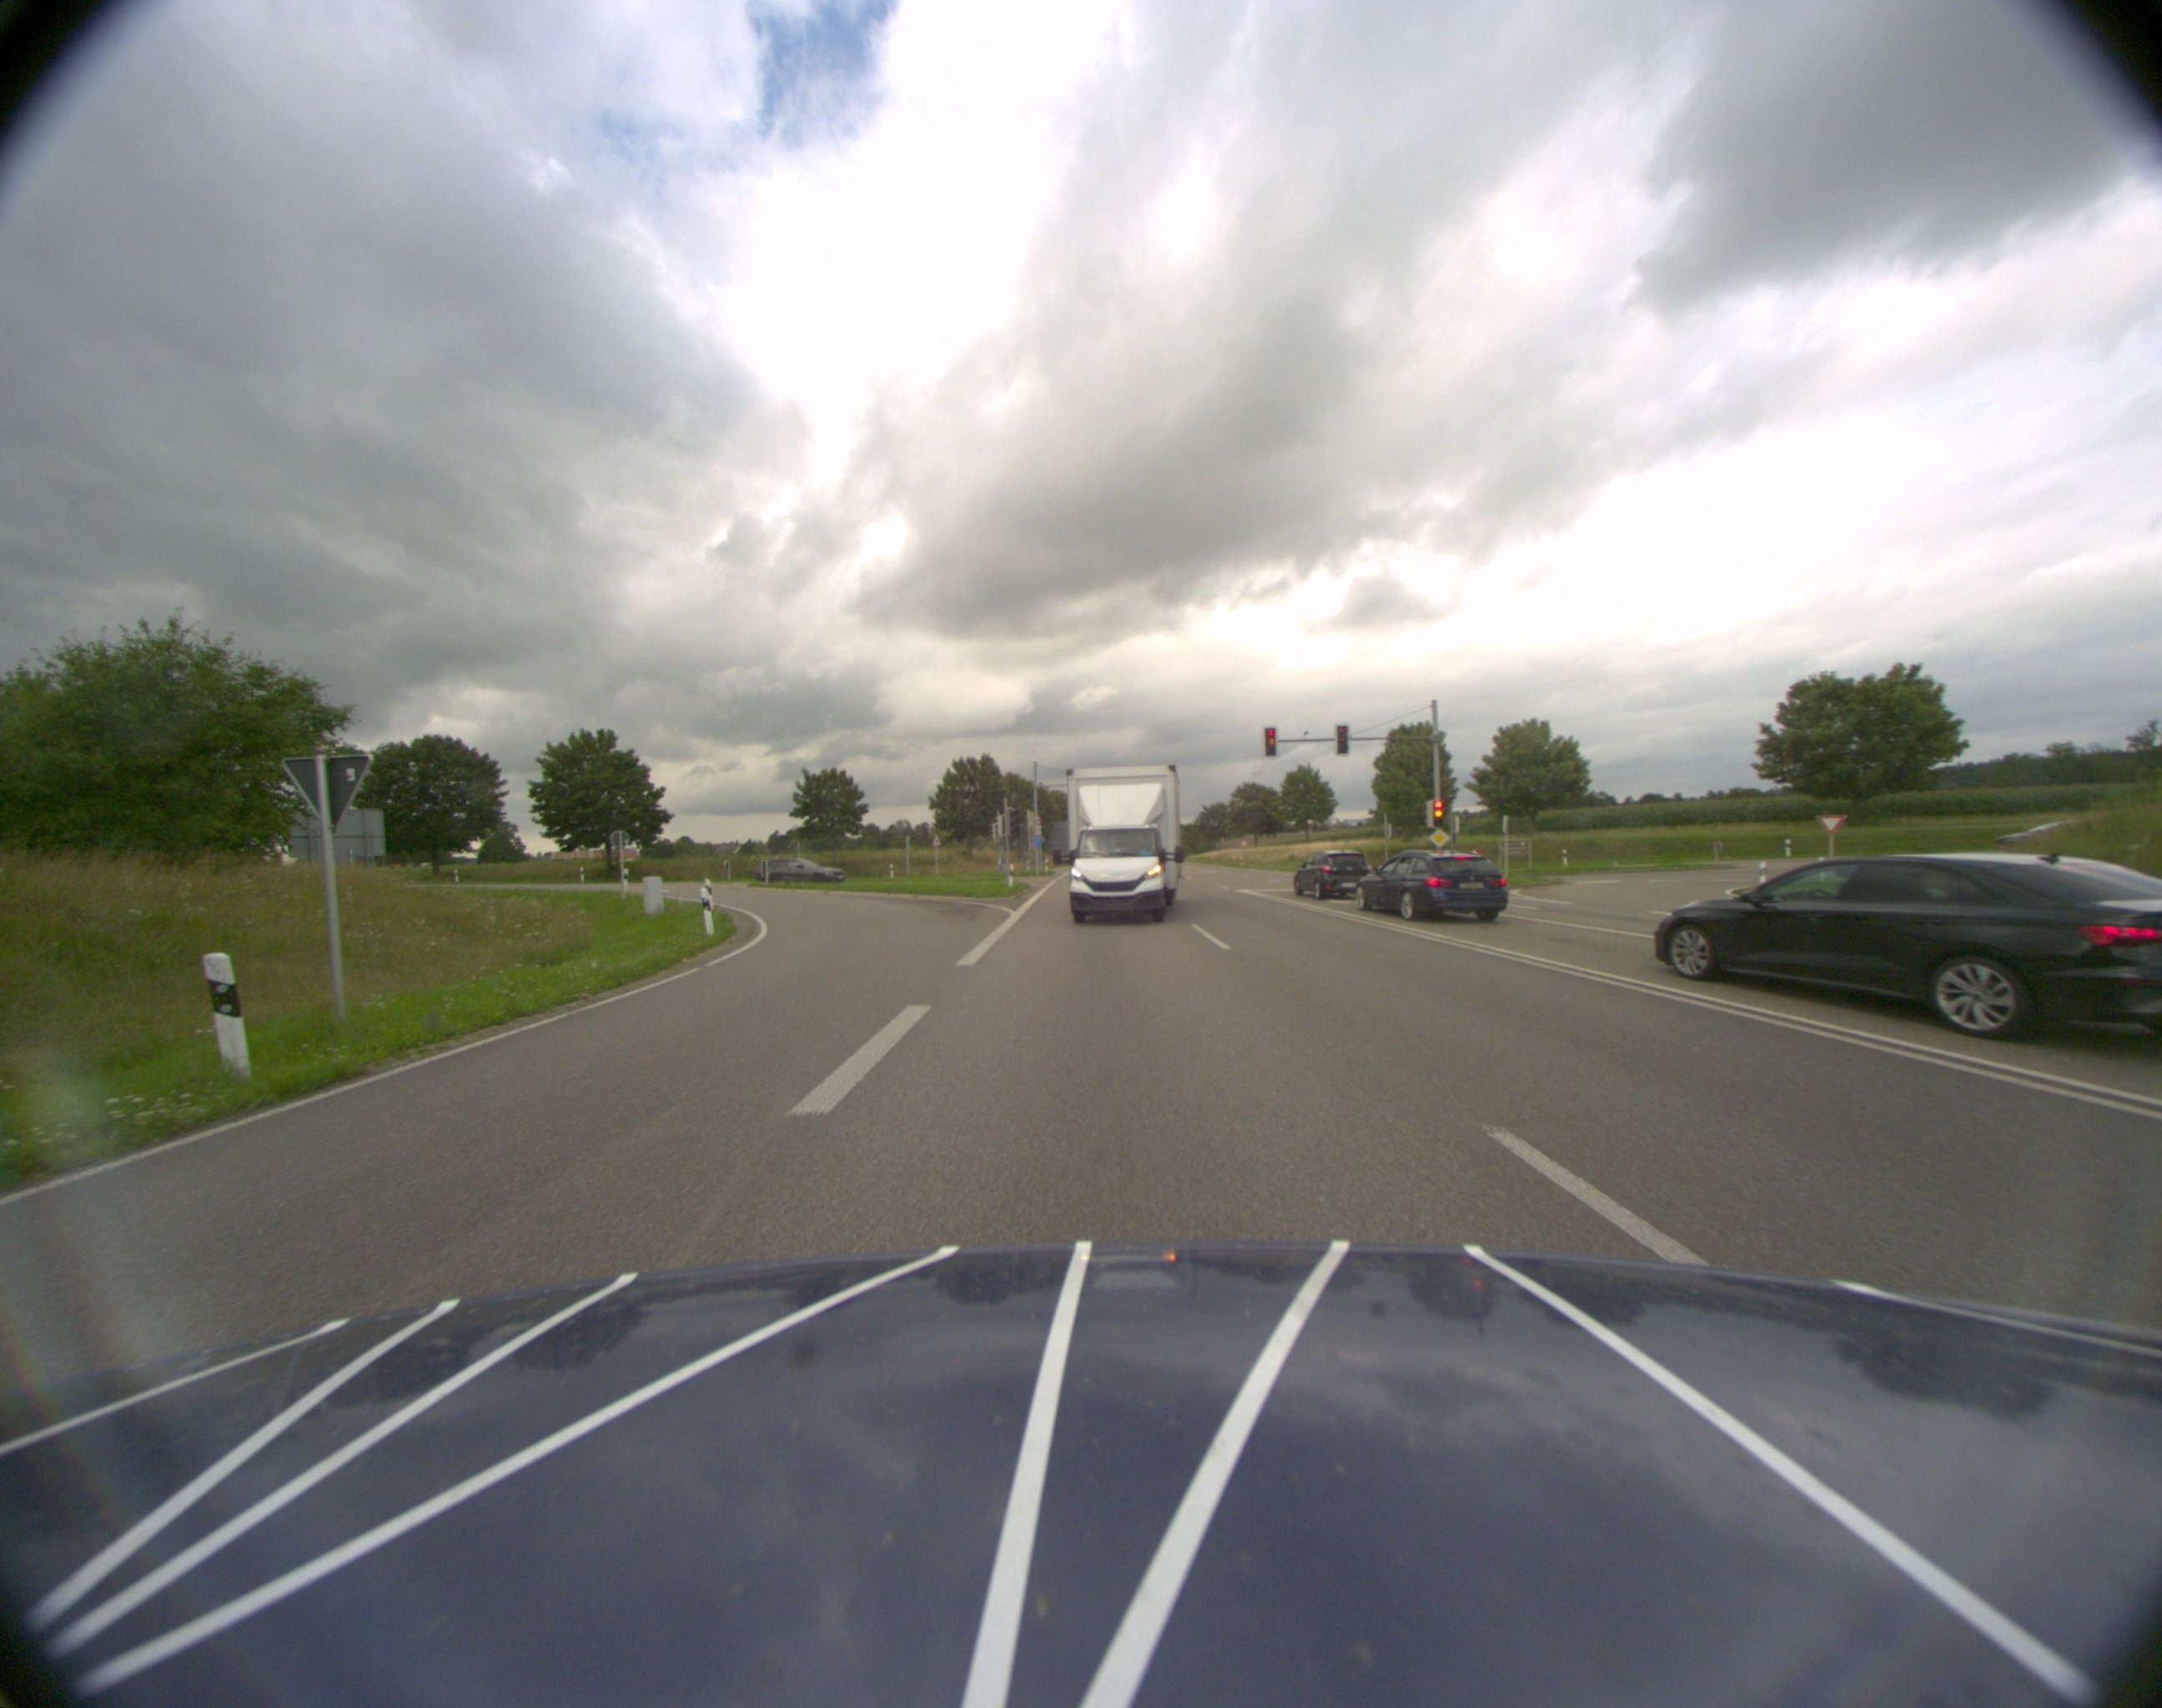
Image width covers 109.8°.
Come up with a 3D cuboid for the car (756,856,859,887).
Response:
[{"bbox_3d":[-14.282,0.895,39.756,4.660,1.494,2.001,-1,1,9],"label":"car"}]

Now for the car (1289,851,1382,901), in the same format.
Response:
[{"bbox_3d":[7.980,0.633,24.208,1.730,1.435,3.944,-1,0,2],"label":"car"}]

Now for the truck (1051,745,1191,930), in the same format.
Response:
[{"bbox_3d":[1.366,-0.375,19.926,2.835,3.742,8.803,-1,1,7],"label":"truck"}]

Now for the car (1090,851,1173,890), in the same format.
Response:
[{"bbox_3d":[2.174,0.659,31.471,1.806,1.444,4.007,-1,1,30],"label":"car"}]

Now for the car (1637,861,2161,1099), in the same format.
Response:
[{"bbox_3d":[7.630,0.814,6.909,1.770,1.375,4.542,-1,1,-1],"label":"car"}]

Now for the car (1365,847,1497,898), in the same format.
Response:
[{"bbox_3d":[11.617,0.549,25.713,2.050,1.526,5.125,-1,1,-1],"label":"car"}]

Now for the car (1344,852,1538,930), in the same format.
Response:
[{"bbox_3d":[7.766,0.703,17.039,2.053,1.475,4.881,0,0,0],"label":"car"}]

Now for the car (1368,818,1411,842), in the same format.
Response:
[{"bbox_3d":[29.331,-2.265,72.378,1.999,2.002,3.998,-3,0,-6],"label":"car"}]
